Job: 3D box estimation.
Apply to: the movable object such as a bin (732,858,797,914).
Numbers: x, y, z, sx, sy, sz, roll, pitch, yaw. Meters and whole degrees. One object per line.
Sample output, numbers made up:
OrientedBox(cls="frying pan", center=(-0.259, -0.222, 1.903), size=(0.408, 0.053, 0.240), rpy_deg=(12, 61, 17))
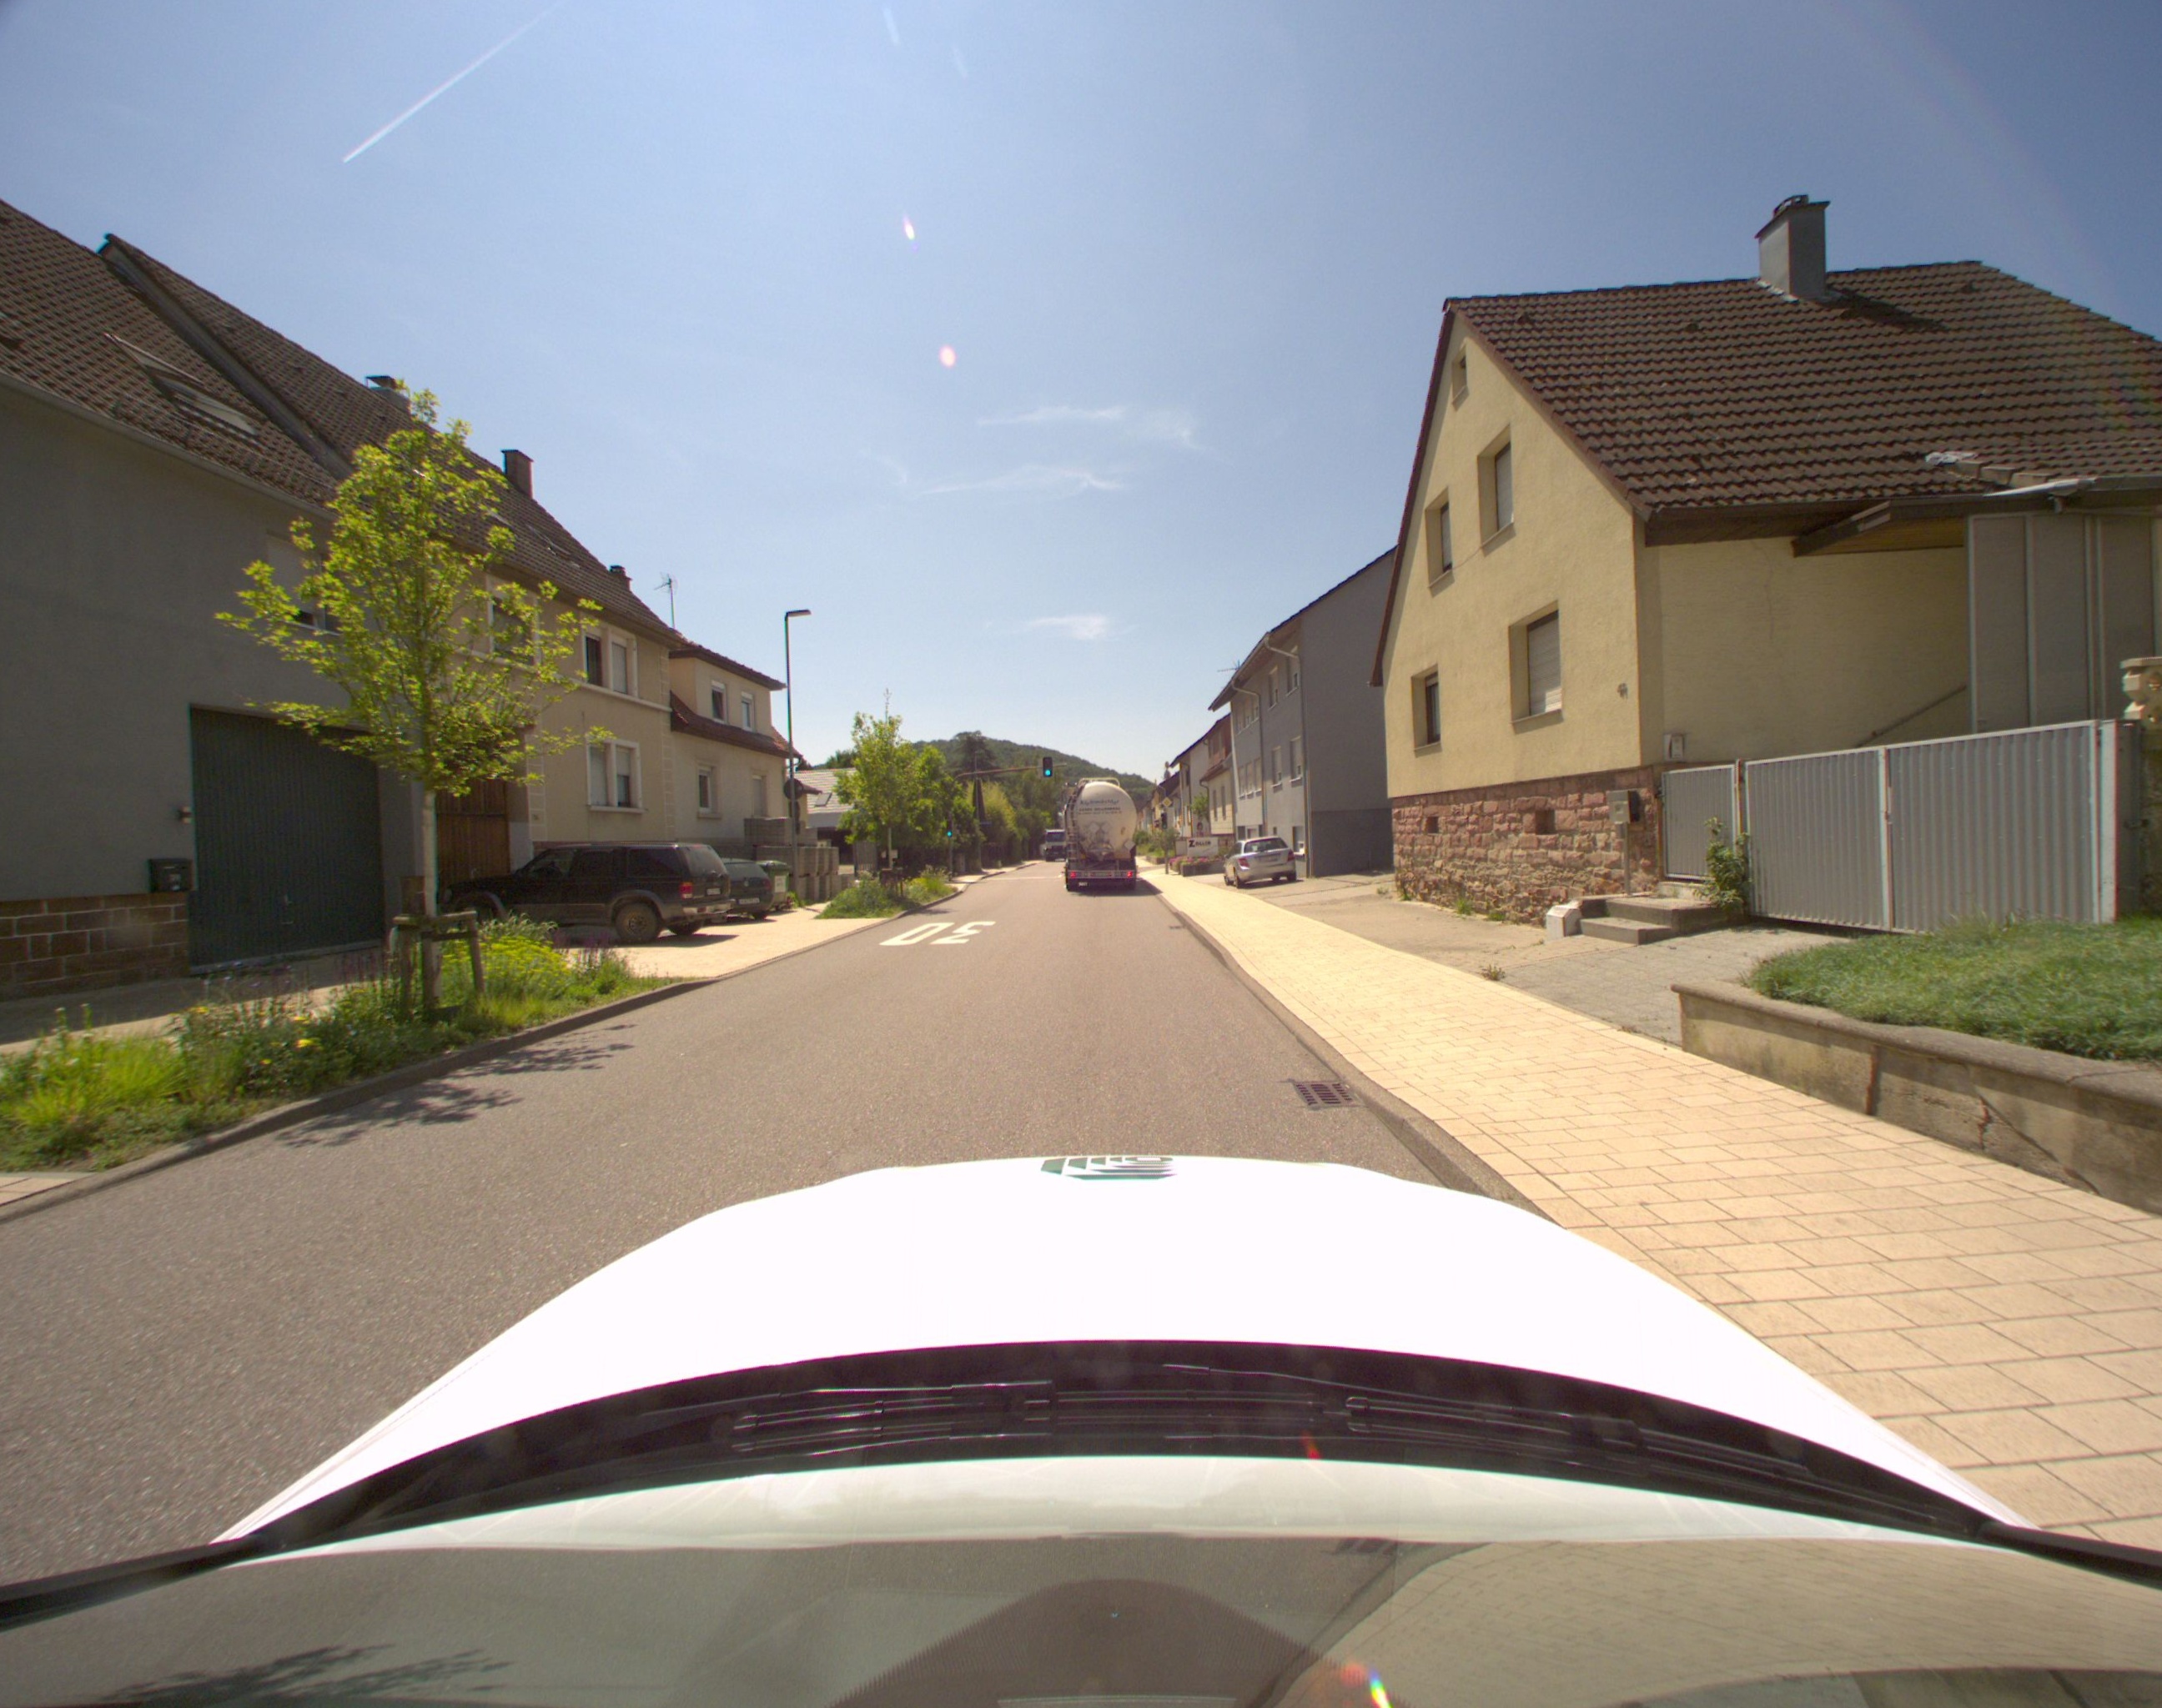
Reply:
OrientedBox(cls="movable object such as a bin", center=(-8.140, 0.797, 21.030), size=(0.984, 1.319, 1.406), rpy_deg=(-1, 3, 6))

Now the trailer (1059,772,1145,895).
OrientedBox(cls="trailer", center=(0.724, -0.703, 31.933), size=(2.787, 4.001, 10.323), rpy_deg=(-1, 0, 0))

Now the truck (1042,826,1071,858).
OrientedBox(cls="truck", center=(-2.674, -1.272, 90.811), size=(2.718, 3.371, 8.638), rpy_deg=(-1, 0, 2))

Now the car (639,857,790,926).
OrientedBox(cls="car", center=(-8.676, 0.845, 19.217), size=(3.505, 1.439, 1.710), rpy_deg=(-2, 0, 36))

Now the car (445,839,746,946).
OrientedBox(cls="car", center=(-8.802, 0.669, 15.041), size=(4.379, 1.750, 1.878), rpy_deg=(-1, 0, 1))

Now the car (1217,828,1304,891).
OrientedBox(cls="car", center=(5.426, 0.150, 25.195), size=(1.783, 1.541, 4.524), rpy_deg=(-7, 0, 3))

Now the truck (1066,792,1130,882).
OrientedBox(cls="truck", center=(0.757, -0.763, 38.684), size=(2.799, 3.937, 6.098), rpy_deg=(-1, 0, 0))

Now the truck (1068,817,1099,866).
OrientedBox(cls="truck", center=(0.376, -1.261, 84.350), size=(2.836, 4.678, 11.343), rpy_deg=(-2, 0, 2))
